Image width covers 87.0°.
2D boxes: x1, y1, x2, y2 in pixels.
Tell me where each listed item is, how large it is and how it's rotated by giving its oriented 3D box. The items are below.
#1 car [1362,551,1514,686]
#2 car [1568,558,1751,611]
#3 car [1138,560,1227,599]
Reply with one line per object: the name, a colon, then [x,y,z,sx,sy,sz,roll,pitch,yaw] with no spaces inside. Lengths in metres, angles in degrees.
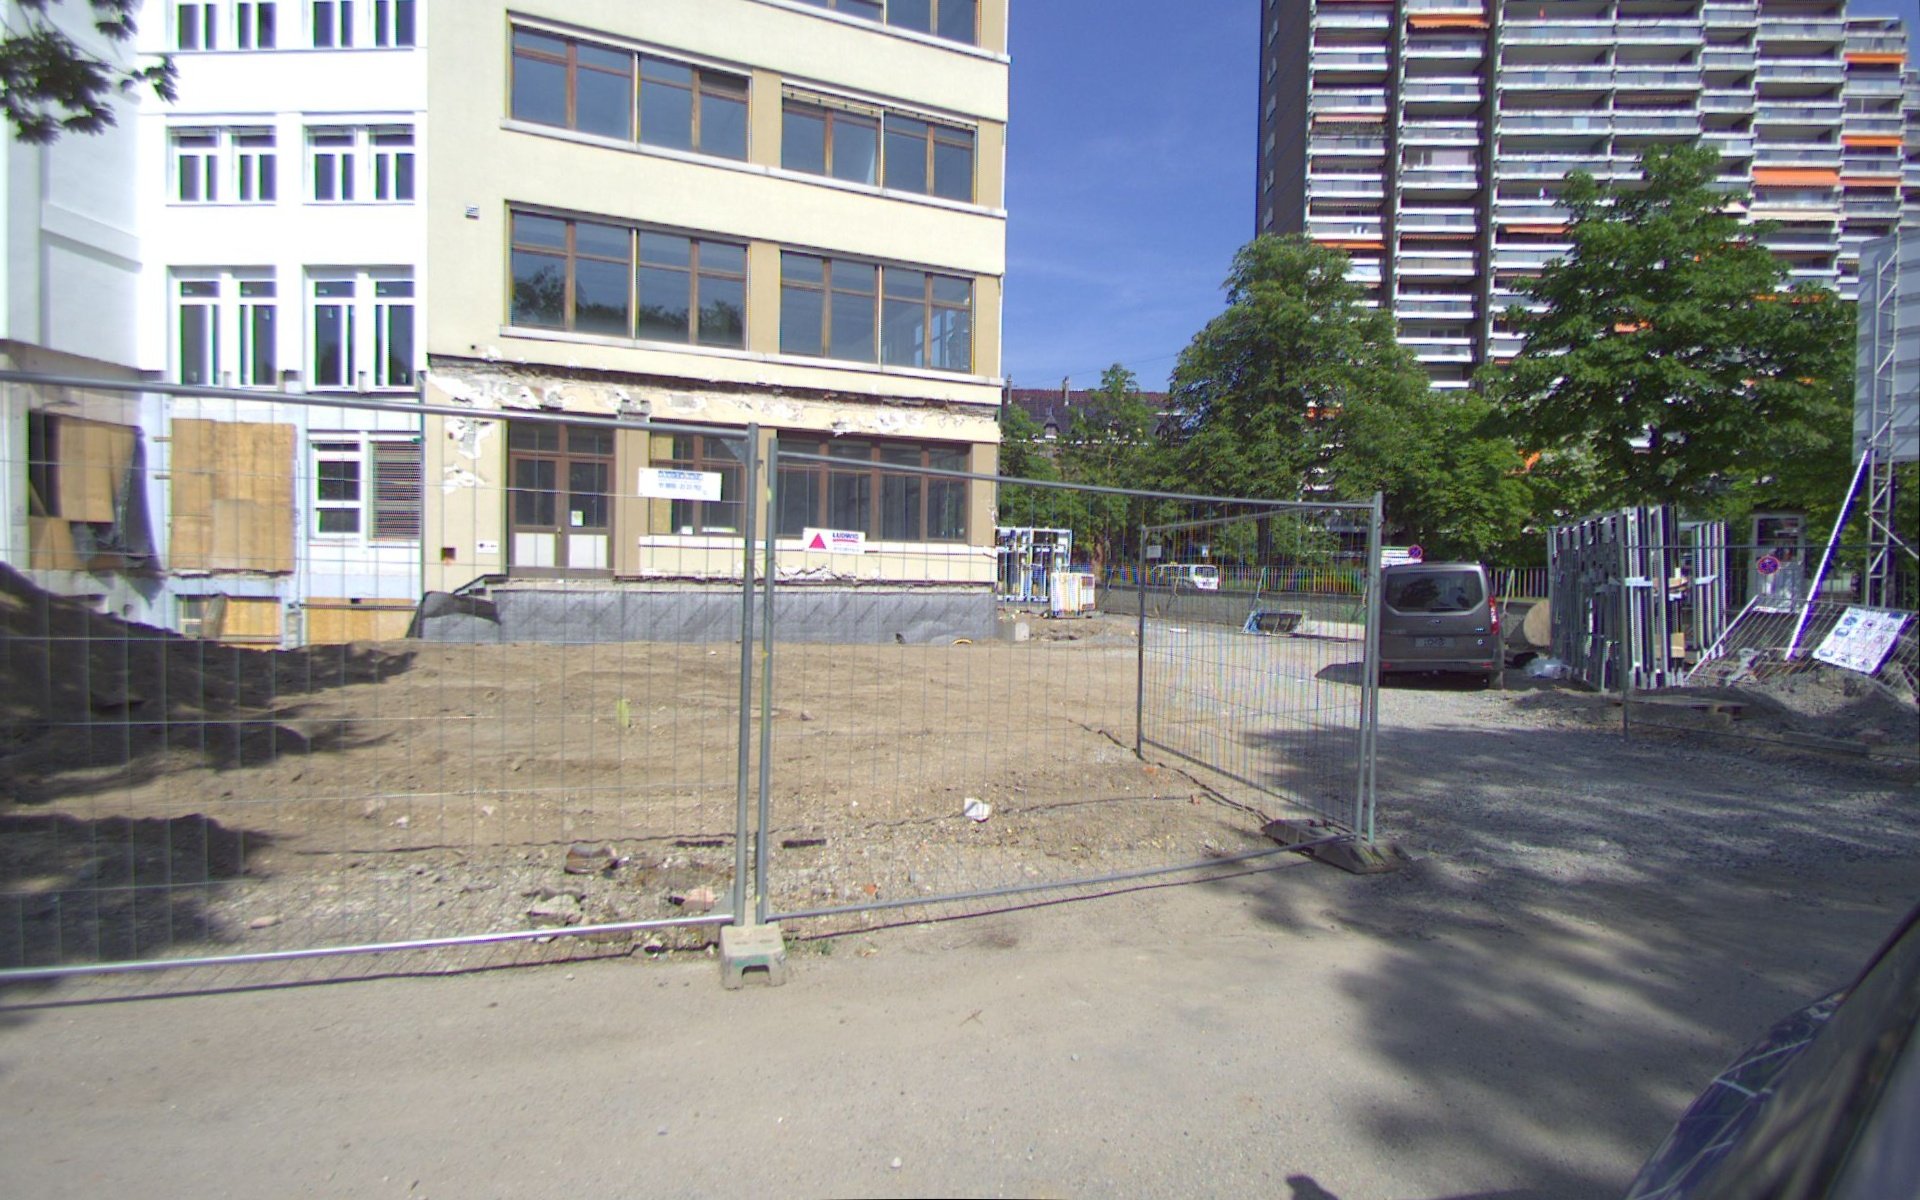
car: [7.475,0.192,15.908,1.902,1.802,4.276,0,1,25]
car: [22.073,-0.526,32.160,1.903,1.540,4.399,1,1,-24]
car: [11.952,-1.155,54.834,1.955,1.970,5.260,1,2,-24]
